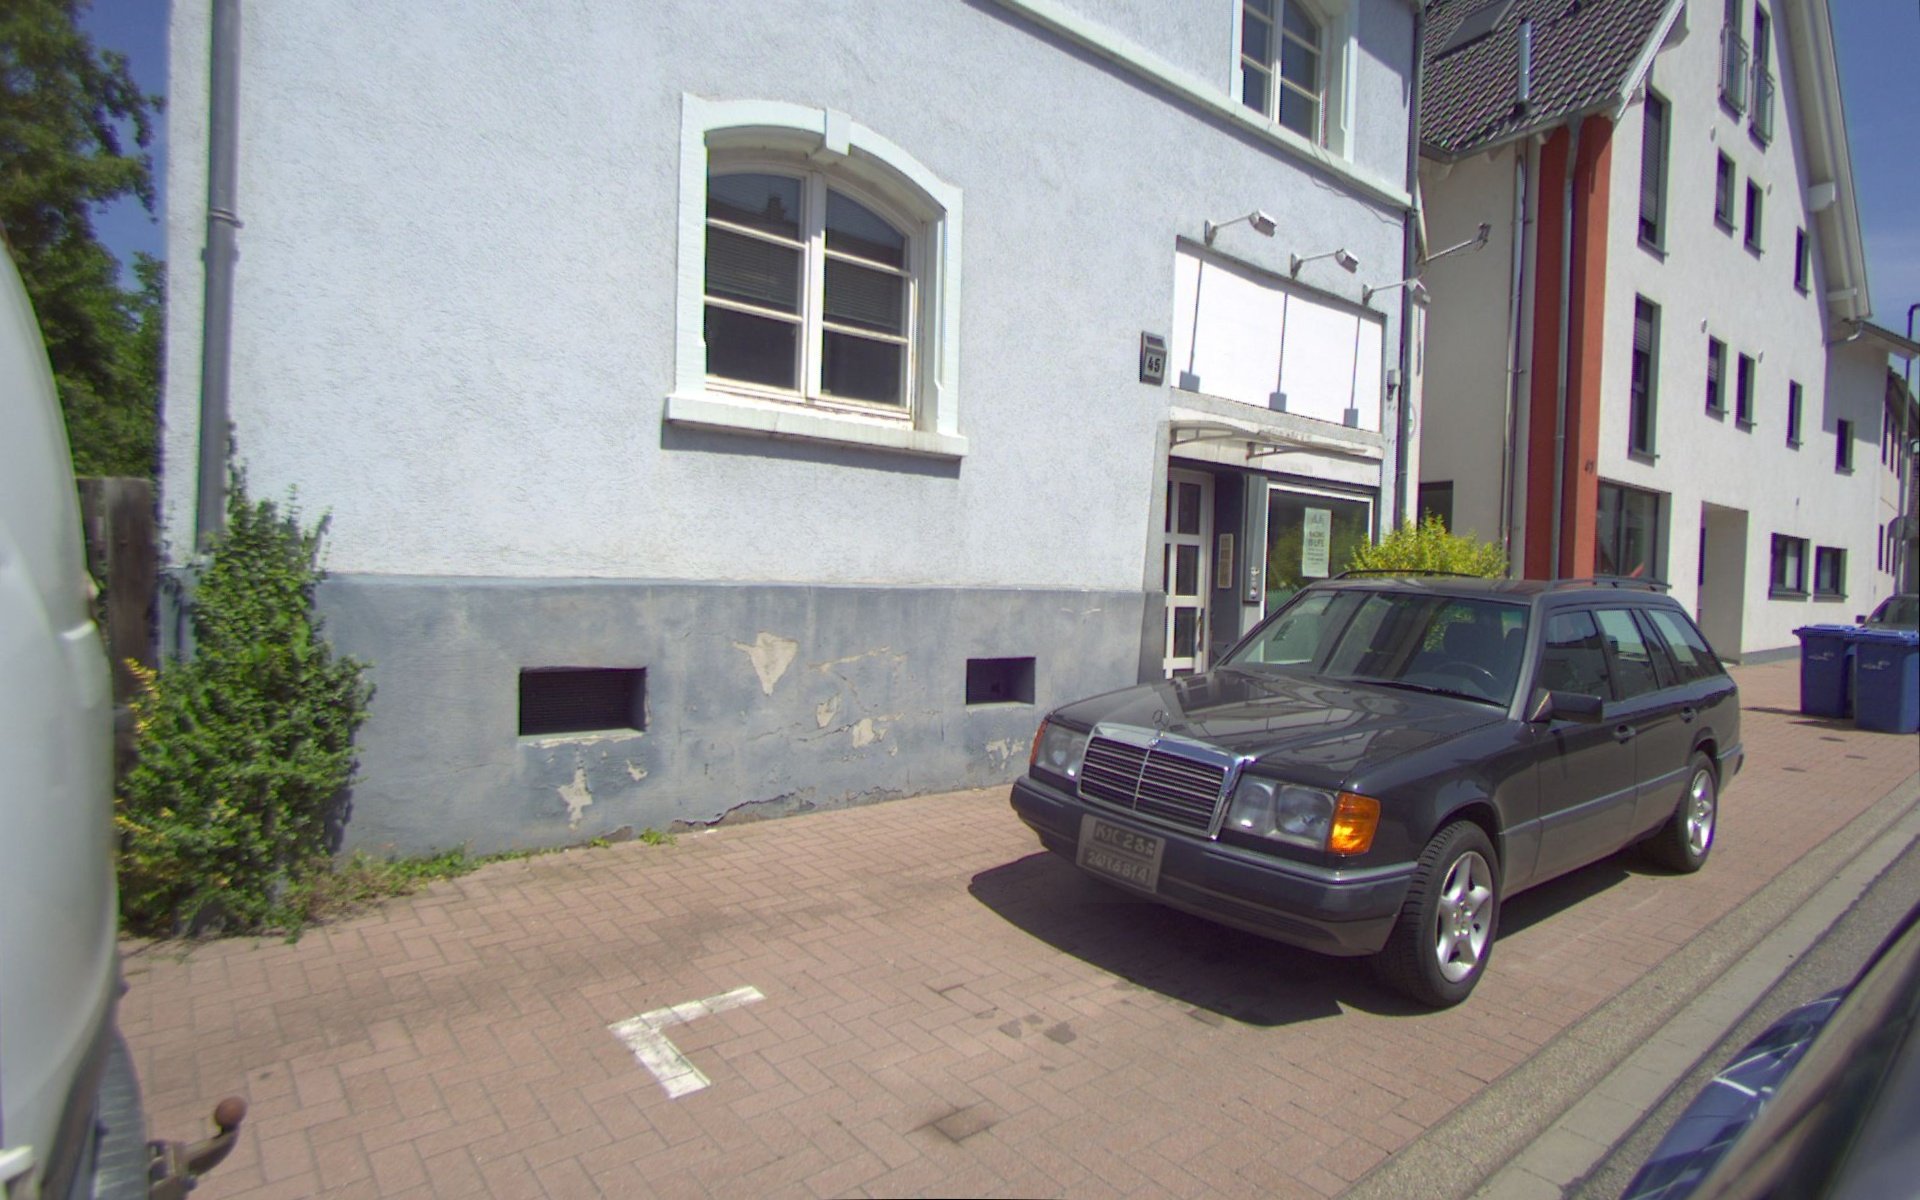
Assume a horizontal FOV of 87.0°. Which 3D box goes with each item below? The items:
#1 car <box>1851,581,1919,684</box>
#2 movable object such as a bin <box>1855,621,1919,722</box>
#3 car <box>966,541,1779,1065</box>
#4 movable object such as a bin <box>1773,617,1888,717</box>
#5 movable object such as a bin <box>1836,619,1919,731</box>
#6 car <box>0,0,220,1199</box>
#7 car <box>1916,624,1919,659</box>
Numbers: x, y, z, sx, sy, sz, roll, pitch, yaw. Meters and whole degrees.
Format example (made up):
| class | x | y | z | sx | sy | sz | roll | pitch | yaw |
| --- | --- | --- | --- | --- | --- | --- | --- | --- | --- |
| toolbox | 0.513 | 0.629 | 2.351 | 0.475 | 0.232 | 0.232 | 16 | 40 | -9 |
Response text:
| class | x | y | z | sx | sy | sz | roll | pitch | yaw |
| --- | --- | --- | --- | --- | --- | --- | --- | --- | --- |
| car | 16.076 | 0.523 | 16.347 | 4.750 | 1.464 | 1.705 | 0 | 5 | -40 |
| movable object such as a bin | 10.615 | 0.791 | 11.293 | 0.670 | 1.047 | 0.659 | 1 | 3 | -23 |
| car | 2.334 | 0.547 | 5.001 | 4.495 | 1.484 | 1.774 | 0 | 3 | -40 |
| movable object such as a bin | 10.163 | 0.762 | 11.825 | 0.818 | 1.073 | 0.658 | 1 | 3 | -23 |
| movable object such as a bin | 10.106 | 0.780 | 10.817 | 0.951 | 1.086 | 0.726 | 1 | 3 | -23 |
| car | -3.090 | 0.316 | 0.118 | 4.701 | 1.994 | 1.950 | 0 | 3 | -41 |
| car | 20.500 | 0.452 | 20.172 | 3.482 | 1.540 | 1.611 | 0 | 5 | -40 |
